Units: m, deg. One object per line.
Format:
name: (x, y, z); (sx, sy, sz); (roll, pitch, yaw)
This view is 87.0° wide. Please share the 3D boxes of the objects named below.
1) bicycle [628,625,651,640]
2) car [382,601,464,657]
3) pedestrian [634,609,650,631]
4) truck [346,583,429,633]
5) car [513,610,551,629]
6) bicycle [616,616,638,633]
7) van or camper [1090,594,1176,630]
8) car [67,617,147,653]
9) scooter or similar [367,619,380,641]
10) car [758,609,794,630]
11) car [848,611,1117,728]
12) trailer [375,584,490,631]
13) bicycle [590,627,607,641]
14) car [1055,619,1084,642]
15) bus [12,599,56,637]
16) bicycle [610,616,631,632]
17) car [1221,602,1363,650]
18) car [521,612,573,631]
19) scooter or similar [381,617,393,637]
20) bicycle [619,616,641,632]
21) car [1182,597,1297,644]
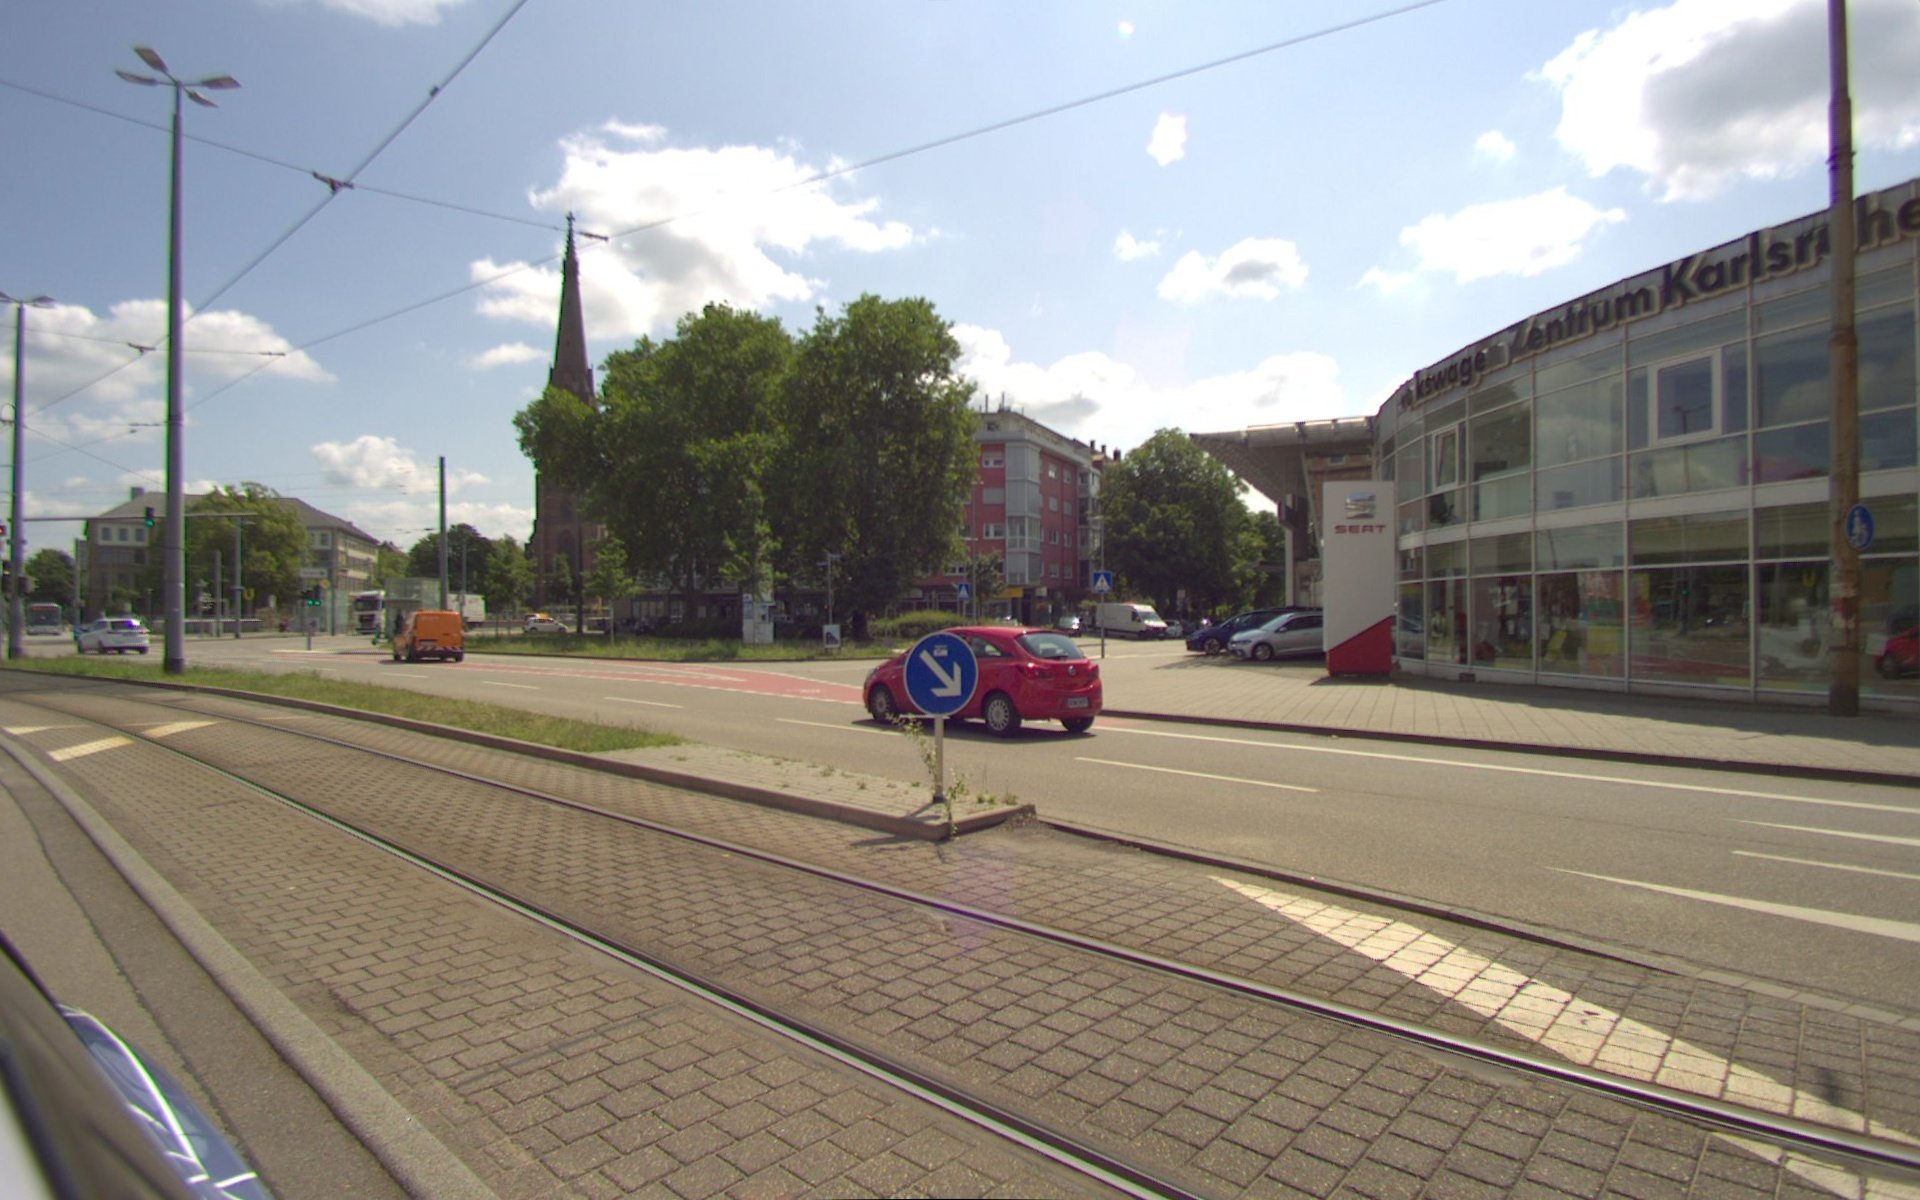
bicycle: (-24.226, 2.458, 76.401); (1.582, 1.074, 0.492); (-1, -1, 6)
car: (-19.392, 1.056, 36.474); (1.886, 1.880, 4.376); (1, -2, -38)
pedestrian: (-23.339, 1.472, 74.182); (0.871, 1.572, 0.721); (-2, -1, 14)
truck: (-50.233, 0.728, 89.014); (2.927, 4.150, 6.867); (-1, -1, 5)
car: (-41.887, 1.905, 99.058); (1.748, 1.779, 4.237); (-1, -1, 3)
bicycle: (-26.561, 1.957, 80.756); (1.582, 1.274, 0.492); (-1, -1, 6)
van or camper: (12.696, 0.911, 74.785); (2.535, 2.518, 6.702); (0, -1, -31)
car: (-40.199, 1.628, 47.657); (4.481, 1.616, 1.752); (-1, -2, 34)
scooter or similar: (-32.453, 1.639, 56.012); (0.548, 1.209, 0.457); (-2, -1, 35)
car: (-14.109, 1.471, 77.807); (1.855, 1.522, 3.927); (-1, -1, 3)
car: (0.205, 0.930, 14.540); (1.681, 1.439, 3.907); (2, -3, -41)
trailer: (-49.621, 0.795, 95.850); (2.912, 4.107, 13.397); (-1, -1, 5)
bicycle: (-29.864, 2.807, 83.639); (1.256, 1.154, 0.459); (-1, -1, 2)
car: (8.142, 2.261, 75.792); (1.974, 1.719, 3.995); (-1, -1, 4)
bus: (-86.487, 1.706, 94.545); (2.907, 3.474, 7.956); (0, -1, -42)
bicycle: (-27.946, 2.001, 83.334); (1.582, 1.274, 0.492); (-1, -1, 6)
car: (10.539, 0.821, 32.315); (3.892, 1.458, 1.834); (-1, -1, 1)
car: (-36.894, 1.898, 90.457); (4.104, 1.655, 1.633); (0, -1, -36)
scooter or similar: (-32.118, 1.514, 56.730); (0.555, 1.133, 0.411); (-2, -1, 35)
bicycle: (-25.975, 1.901, 79.743); (1.582, 1.176, 0.492); (-1, -1, 6)
car: (9.732, 0.726, 35.470); (3.750, 1.485, 1.653); (-3, -2, 13)
